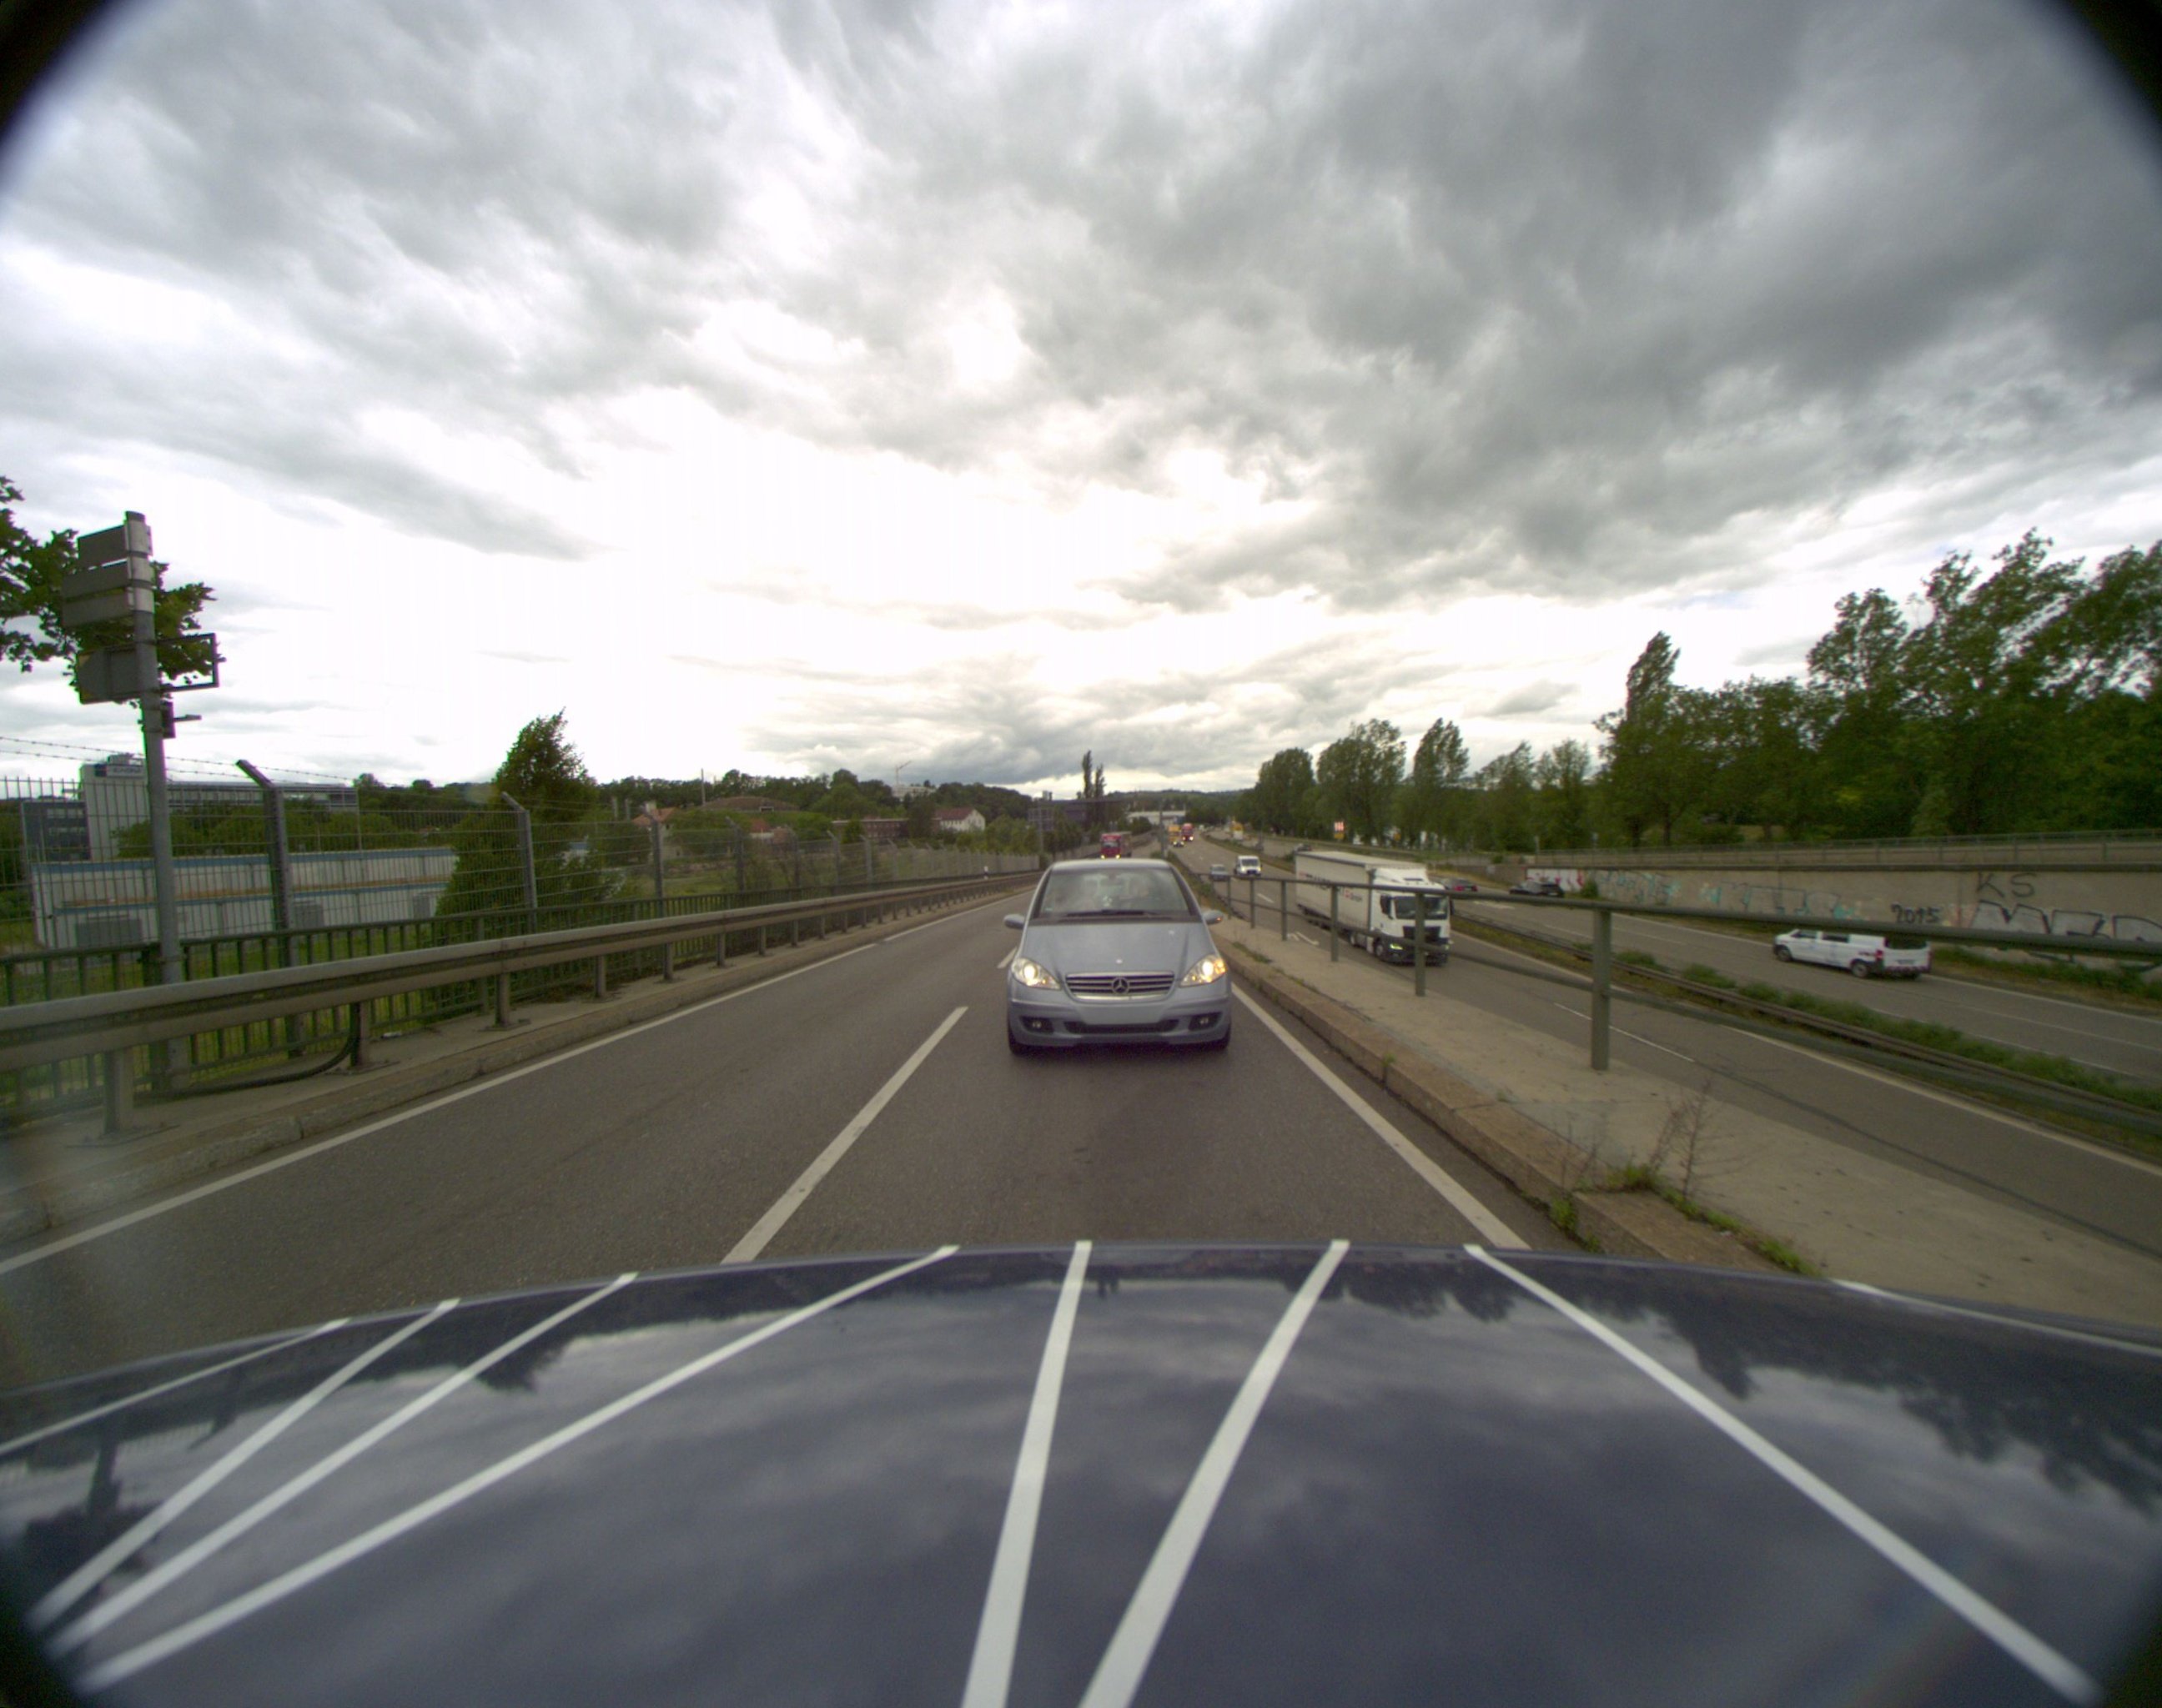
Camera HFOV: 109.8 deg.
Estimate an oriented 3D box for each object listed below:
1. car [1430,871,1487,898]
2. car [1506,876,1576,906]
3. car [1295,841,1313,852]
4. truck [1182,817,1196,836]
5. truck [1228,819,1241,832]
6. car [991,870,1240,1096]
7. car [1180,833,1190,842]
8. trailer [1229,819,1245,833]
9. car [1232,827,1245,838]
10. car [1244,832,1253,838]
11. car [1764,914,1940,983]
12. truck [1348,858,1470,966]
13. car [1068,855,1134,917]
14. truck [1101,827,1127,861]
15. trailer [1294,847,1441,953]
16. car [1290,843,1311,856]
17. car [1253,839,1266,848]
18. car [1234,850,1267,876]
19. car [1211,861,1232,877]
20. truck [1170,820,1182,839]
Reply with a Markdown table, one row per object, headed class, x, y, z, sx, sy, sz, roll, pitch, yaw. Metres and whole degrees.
| class | x | y | z | sx | sy | sz | roll | pitch | yaw |
| --- | --- | --- | --- | --- | --- | --- | --- | --- | --- |
| car | 28.198 | 2.247 | 56.944 | 1.998 | 1.617 | 4.576 | 0 | 3 | 1 |
| car | 31.630 | 2.513 | 52.410 | 1.998 | 1.617 | 4.576 | 0 | 3 | 1 |
| car | 36.272 | -1.245 | 123.939 | 1.864 | 1.643 | 4.632 | 0 | 3 | 4 |
| truck | 27.805 | -7.205 | 195.810 | 2.754 | 4.712 | 9.916 | 1 | 3 | 4 |
| truck | 48.843 | -9.098 | 242.160 | 3.247 | 4.159 | 5.803 | 0 | 3 | 5 |
| car | 0.276 | 0.952 | 7.361 | 1.743 | 1.534 | 3.993 | -1 | 0 | 1 |
| car | 20.820 | -3.302 | 152.458 | 1.810 | 1.658 | 3.999 | -1 | 3 | 4 |
| trailer | 48.255 | -8.729 | 235.379 | 3.247 | 4.239 | 13.678 | 0 | 3 | 5 |
| car | 39.318 | -5.498 | 189.794 | 2.172 | 2.580 | 6.099 | -1 | 3 | 1 |
| car | 44.516 | -5.107 | 202.121 | 1.662 | 1.643 | 3.772 | 0 | 3 | 4 |
| car | 30.227 | 3.637 | 30.068 | 1.952 | 1.897 | 4.907 | -1 | 3 | 1 |
| truck | 14.371 | 2.372 | 33.900 | 3.010 | 4.087 | 5.871 | 0 | 3 | 2 |
| car | 0.592 | 0.952 | 23.782 | 1.830 | 1.701 | 4.001 | -2 | -1 | 1 |
| truck | 4.505 | -1.369 | 101.289 | 3.101 | 3.990 | 8.487 | -1 | 4 | 5 |
| trailer | 14.675 | 1.995 | 40.732 | 3.010 | 4.087 | 13.983 | 0 | 3 | 2 |
| car | 32.115 | -0.626 | 111.271 | 1.886 | 1.709 | 4.181 | 0 | 3 | 3 |
| car | 31.173 | -1.838 | 132.762 | 1.717 | 1.446 | 3.650 | -1 | 3 | 6 |
| car | 16.959 | 0.829 | 76.456 | 2.104 | 2.231 | 6.498 | 0 | 3 | 3 |
| car | 13.637 | 1.448 | 73.840 | 1.512 | 1.365 | 3.536 | 0 | 3 | 3 |
| truck | 21.831 | -5.740 | 174.688 | 2.415 | 4.100 | 8.169 | 0 | 3 | 4 |
